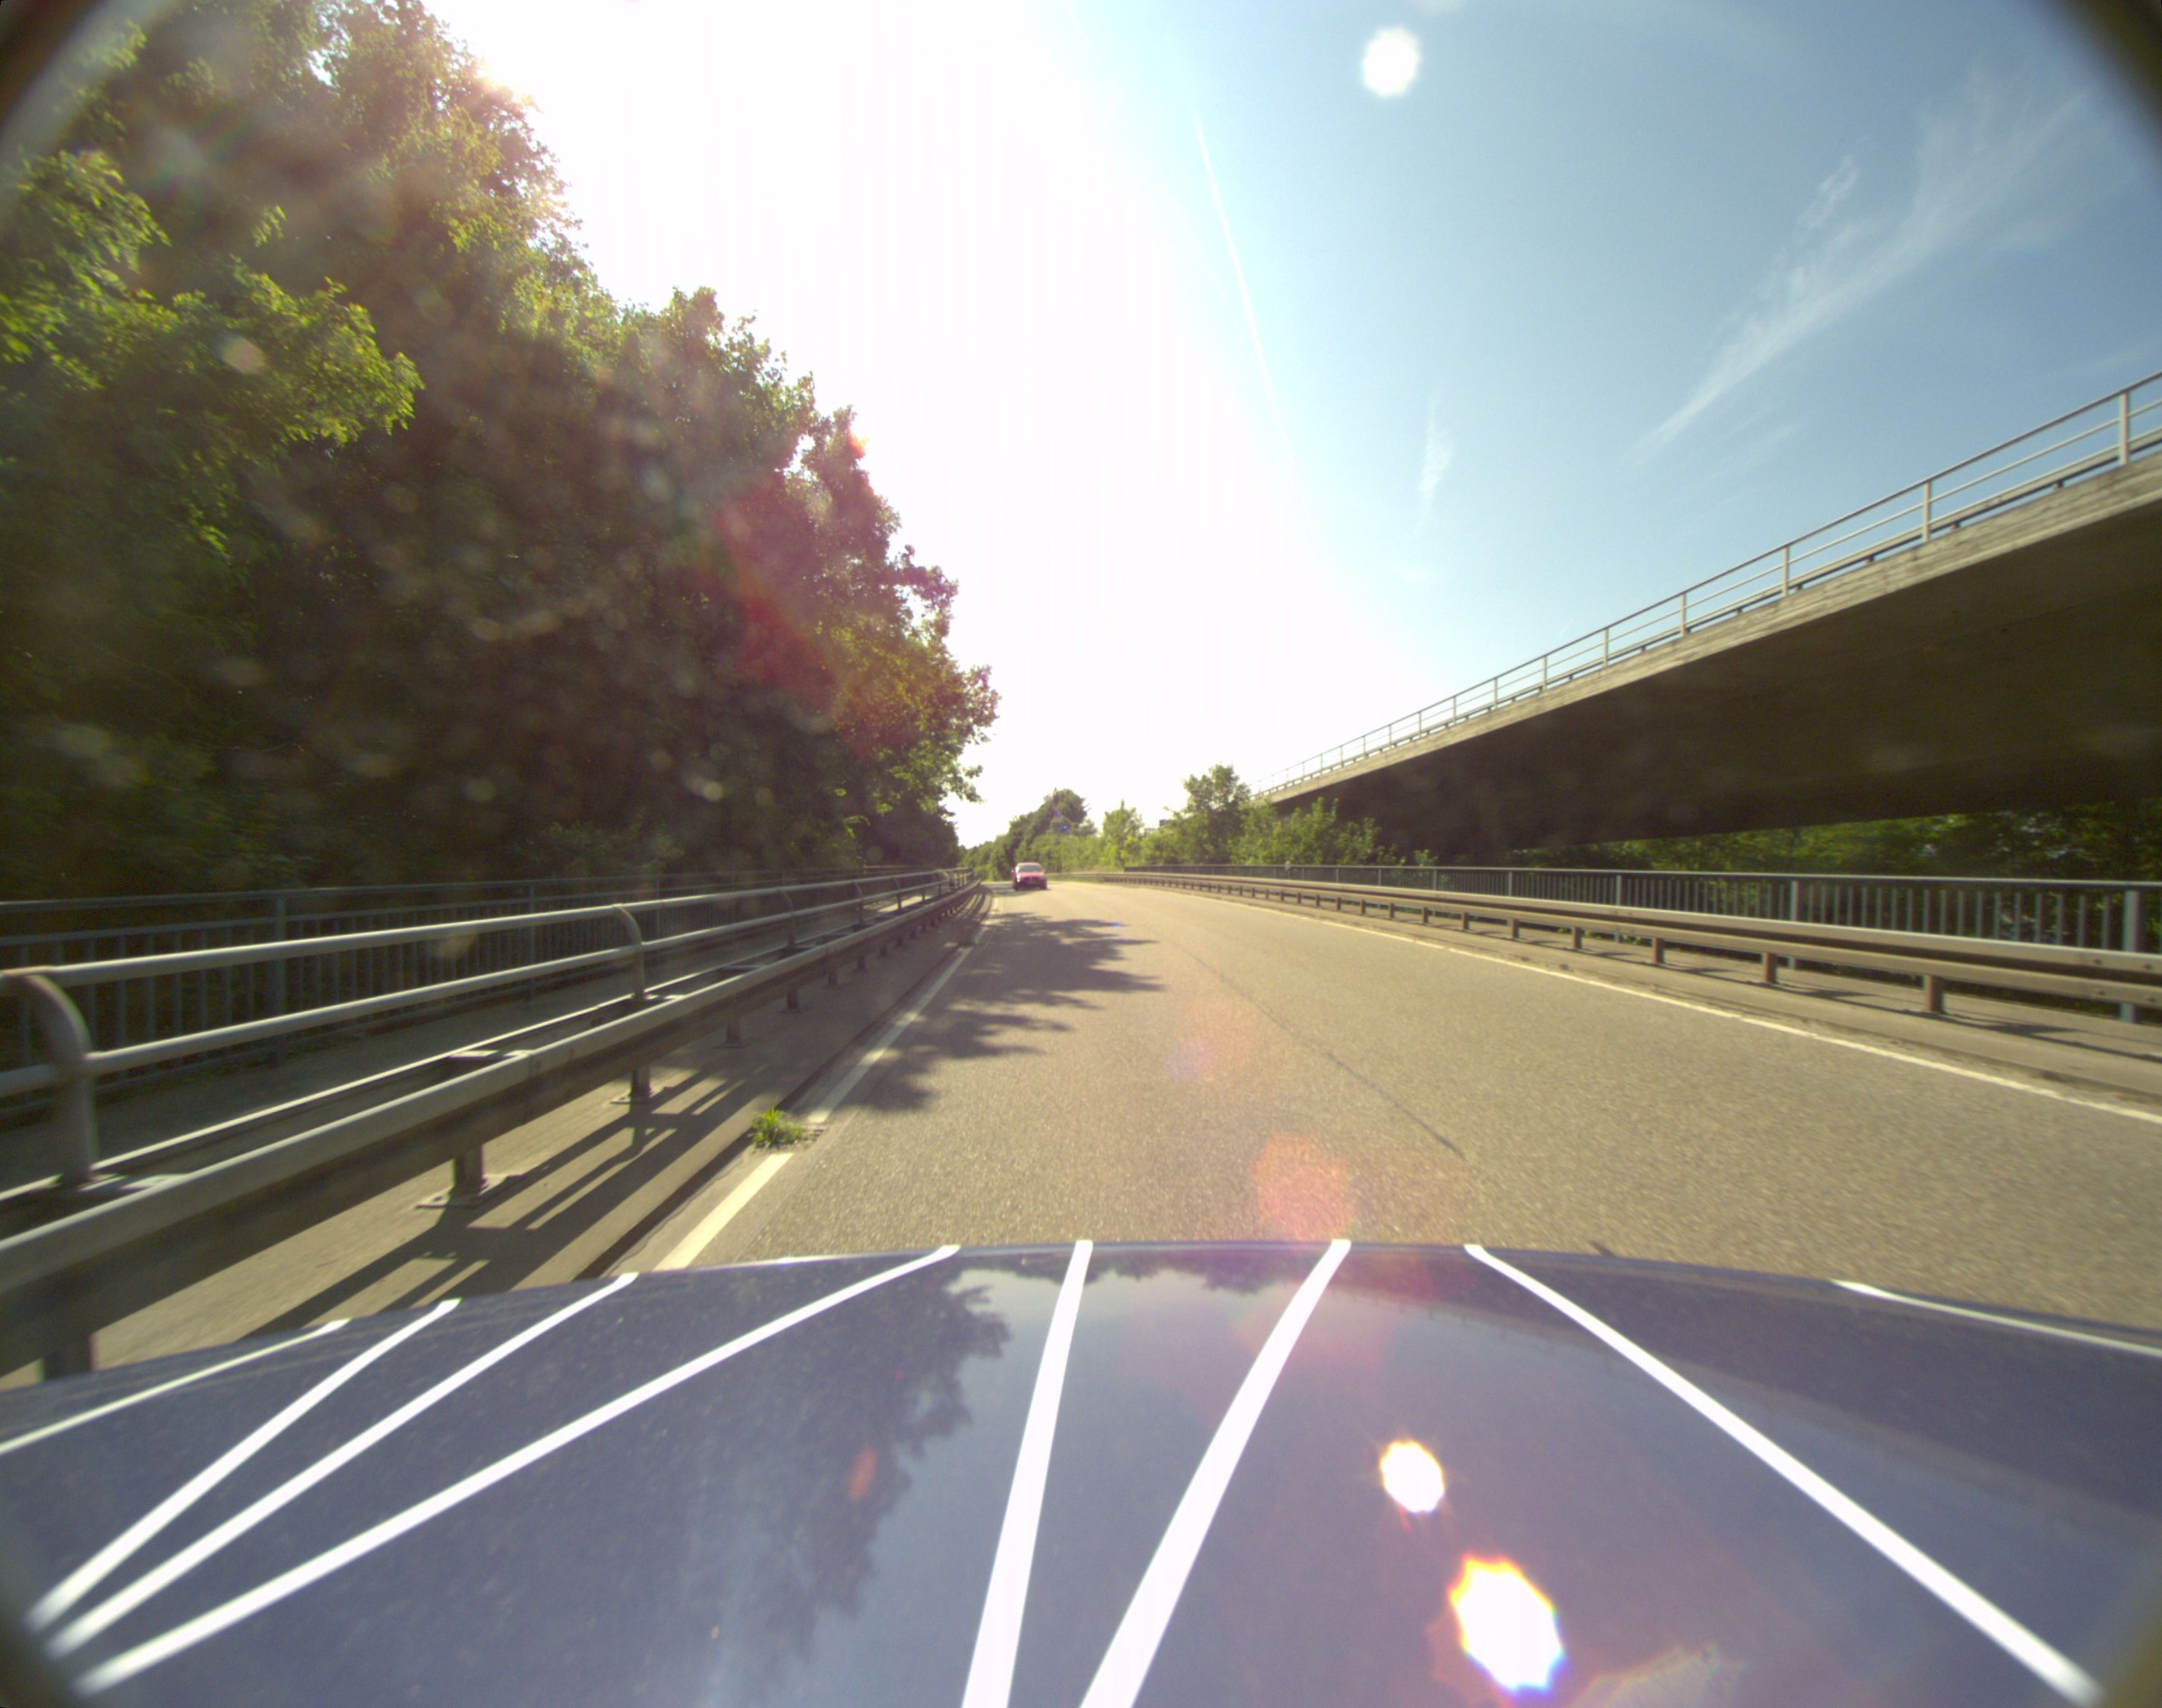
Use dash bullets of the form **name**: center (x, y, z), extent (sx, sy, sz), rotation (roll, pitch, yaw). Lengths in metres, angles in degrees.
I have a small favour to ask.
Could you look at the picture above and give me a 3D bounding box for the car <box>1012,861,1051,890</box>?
- **car**: center (-2.806, 1.138, 42.344), extent (1.818, 1.488, 4.282), rotation (-1, 0, -9)
